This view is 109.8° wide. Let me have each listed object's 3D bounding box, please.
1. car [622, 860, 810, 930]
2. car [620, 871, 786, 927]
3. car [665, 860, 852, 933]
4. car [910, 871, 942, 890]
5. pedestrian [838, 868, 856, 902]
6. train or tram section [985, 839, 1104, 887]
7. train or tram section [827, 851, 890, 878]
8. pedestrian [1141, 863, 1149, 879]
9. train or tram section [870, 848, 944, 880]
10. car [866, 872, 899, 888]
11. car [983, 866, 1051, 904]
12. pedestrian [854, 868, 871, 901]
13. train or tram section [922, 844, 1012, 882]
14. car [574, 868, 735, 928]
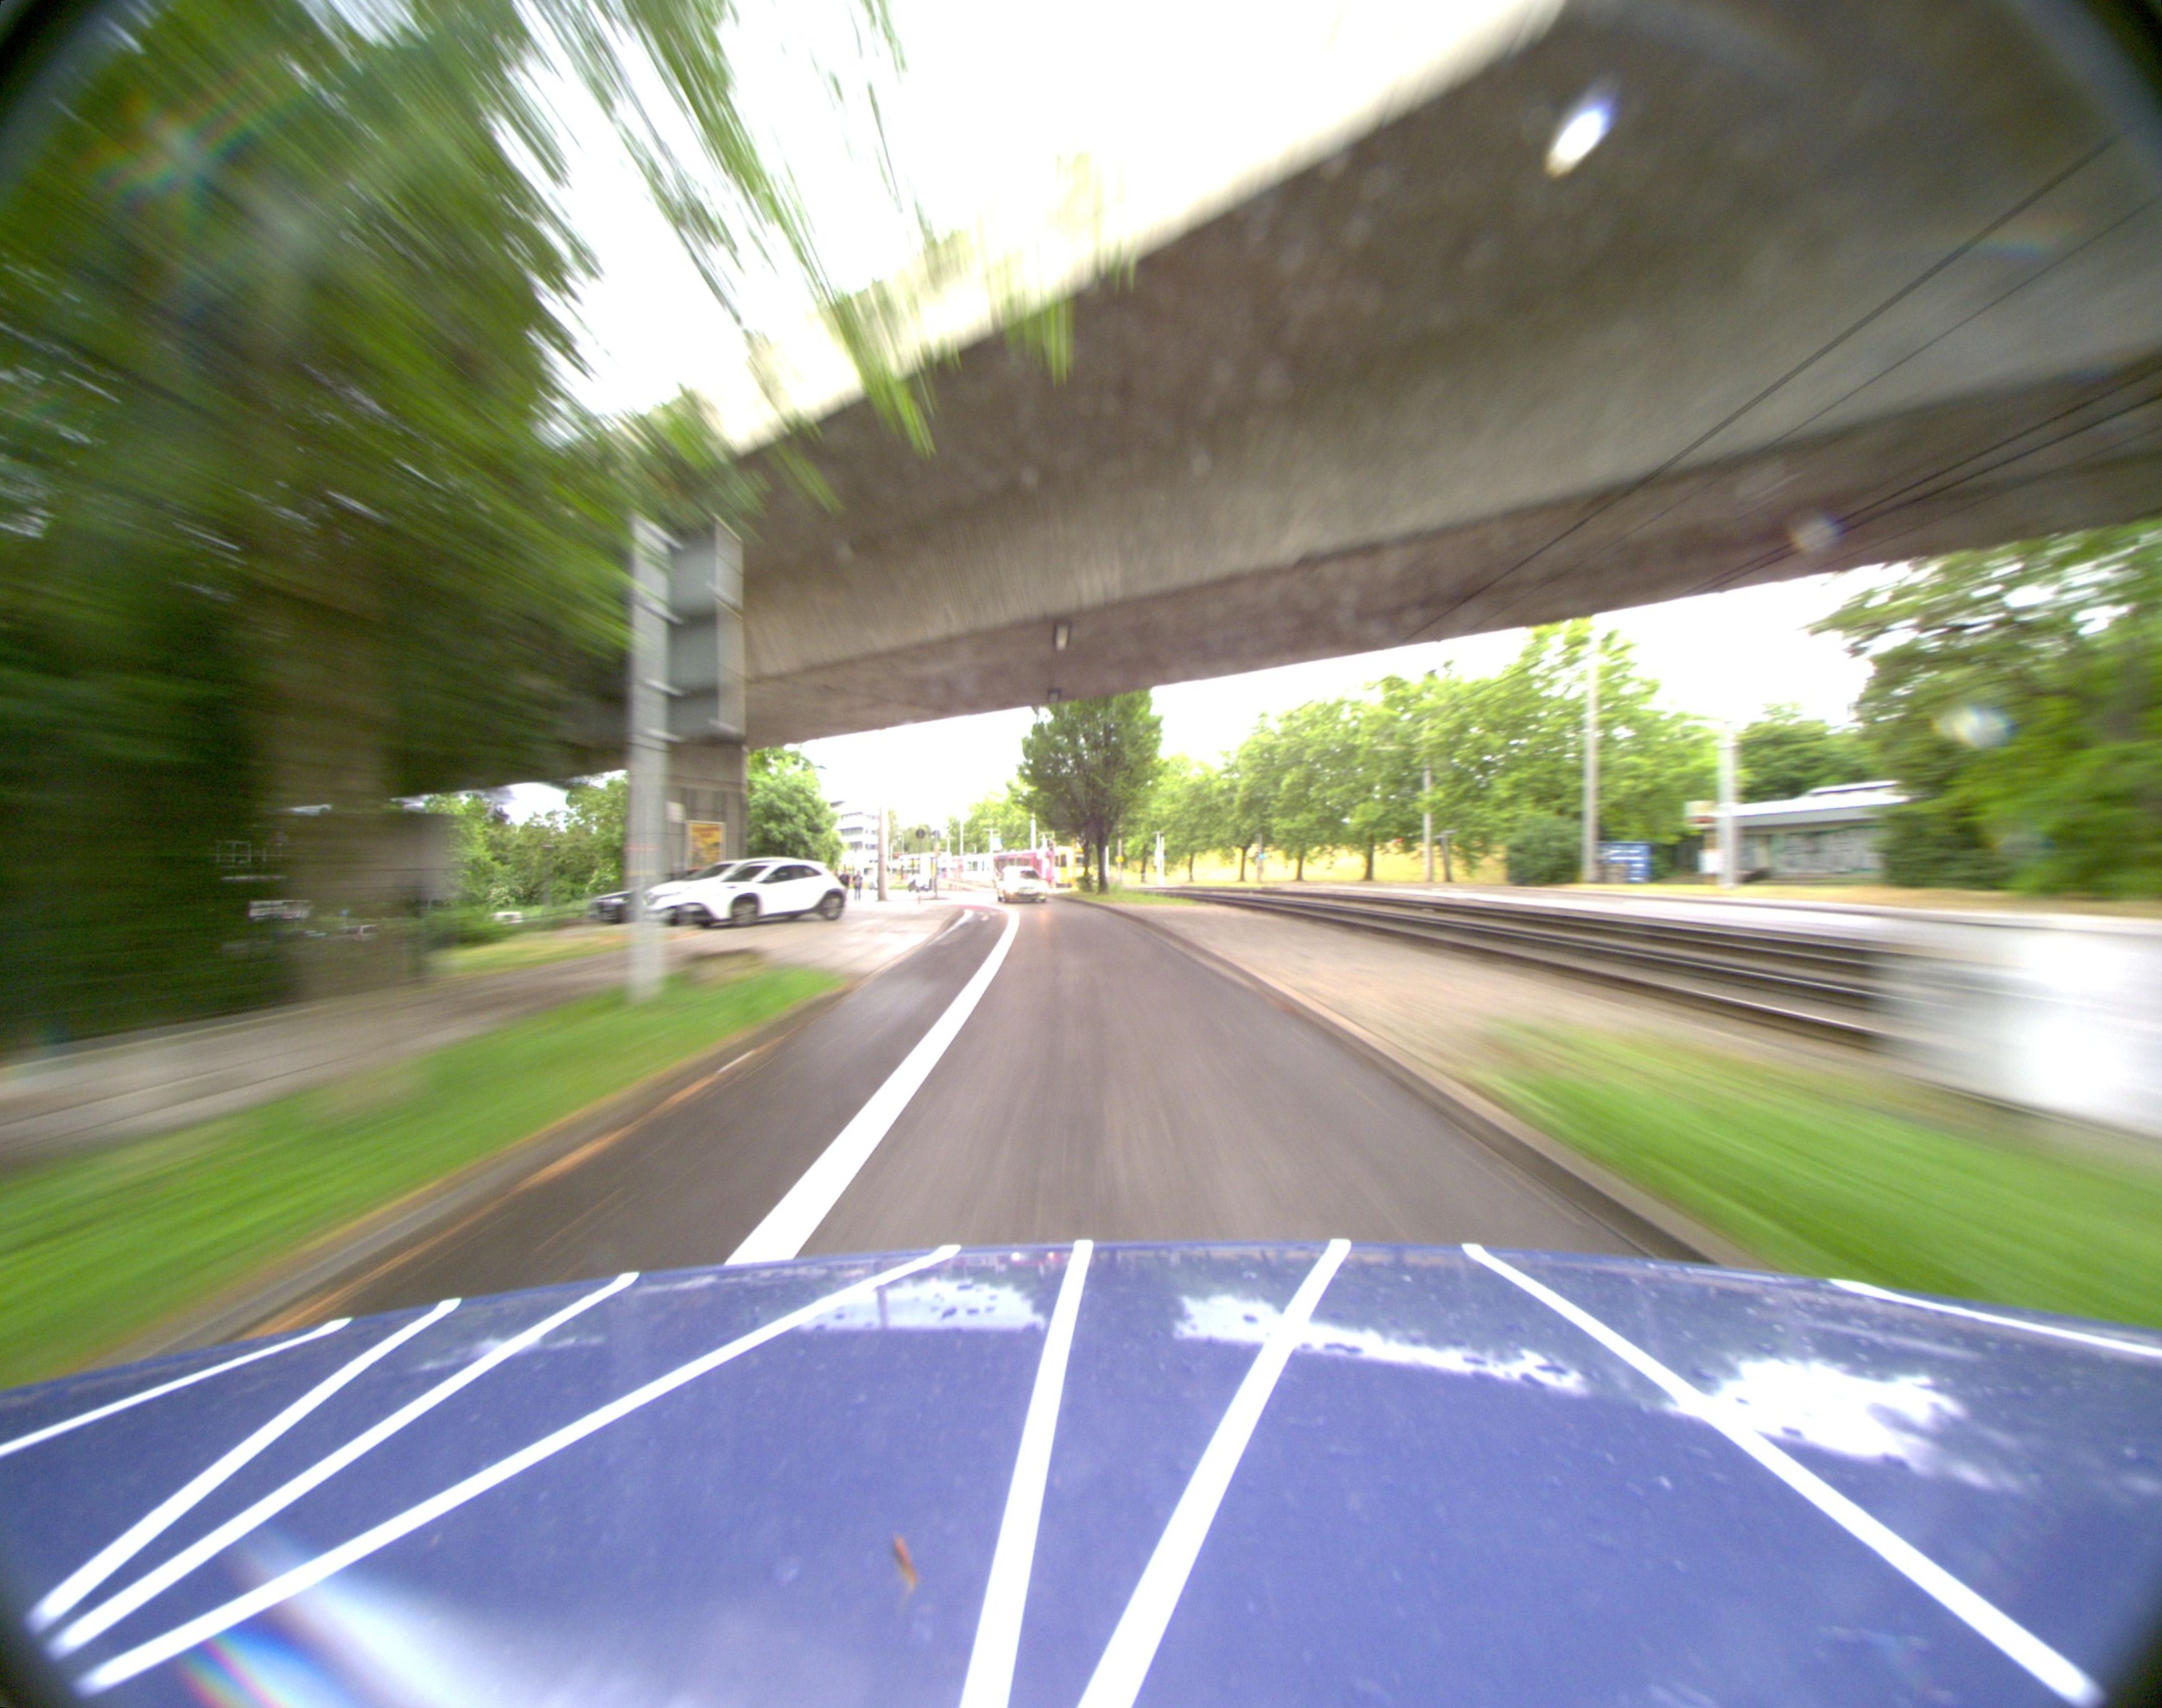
[{"bbox_3d":[-9.505,0.999,20.094,1.962,1.621,4.032,-1,0,32],"label":"car"},{"bbox_3d":[-11.087,1.265,22.560,1.782,1.431,4.058,-2,-1,32],"label":"car"},{"bbox_3d":[-7.565,0.933,18.168,1.798,1.513,3.743,-1,0,32],"label":"car"},{"bbox_3d":[-13.251,2.222,64.783,1.784,1.493,3.992,-1,0,-25],"label":"car"},{"bbox_3d":[-12.915,1.725,41.932,0.598,1.811,0.910,-2,1,4],"label":"pedestrian"},{"bbox_3d":[-4.051,0.829,72.049,2.881,3.938,19.287,-3,1,-29],"label":"train or tram section"},{"bbox_3d":[-35.516,1.685,120.542,2.882,3.950,19.280,-3,1,-37],"label":"train or tram section"},{"bbox_3d":[7.383,1.980,87.699,0.731,1.810,0.763,-2,0,-15],"label":"pedestrian"},{"bbox_3d":[-24.318,1.368,104.868,2.882,3.931,19.282,-3,1,-35],"label":"train or tram section"},{"bbox_3d":[-20.947,2.734,80.181,2.003,1.562,3.990,-3,1,-35],"label":"car"},{"bbox_3d":[-2.814,1.284,32.553,1.784,1.492,3.993,1,-1,-22],"label":"car"},{"bbox_3d":[-12.154,1.702,42.249,0.627,1.798,0.836,-2,1,0],"label":"pedestrian"},{"bbox_3d":[-13.747,1.079,88.690,2.882,3.948,19.284,-3,1,-32],"label":"train or tram section"},{"bbox_3d":[-13.517,1.345,24.286,1.900,1.562,4.007,-2,1,34],"label":"car"}]
